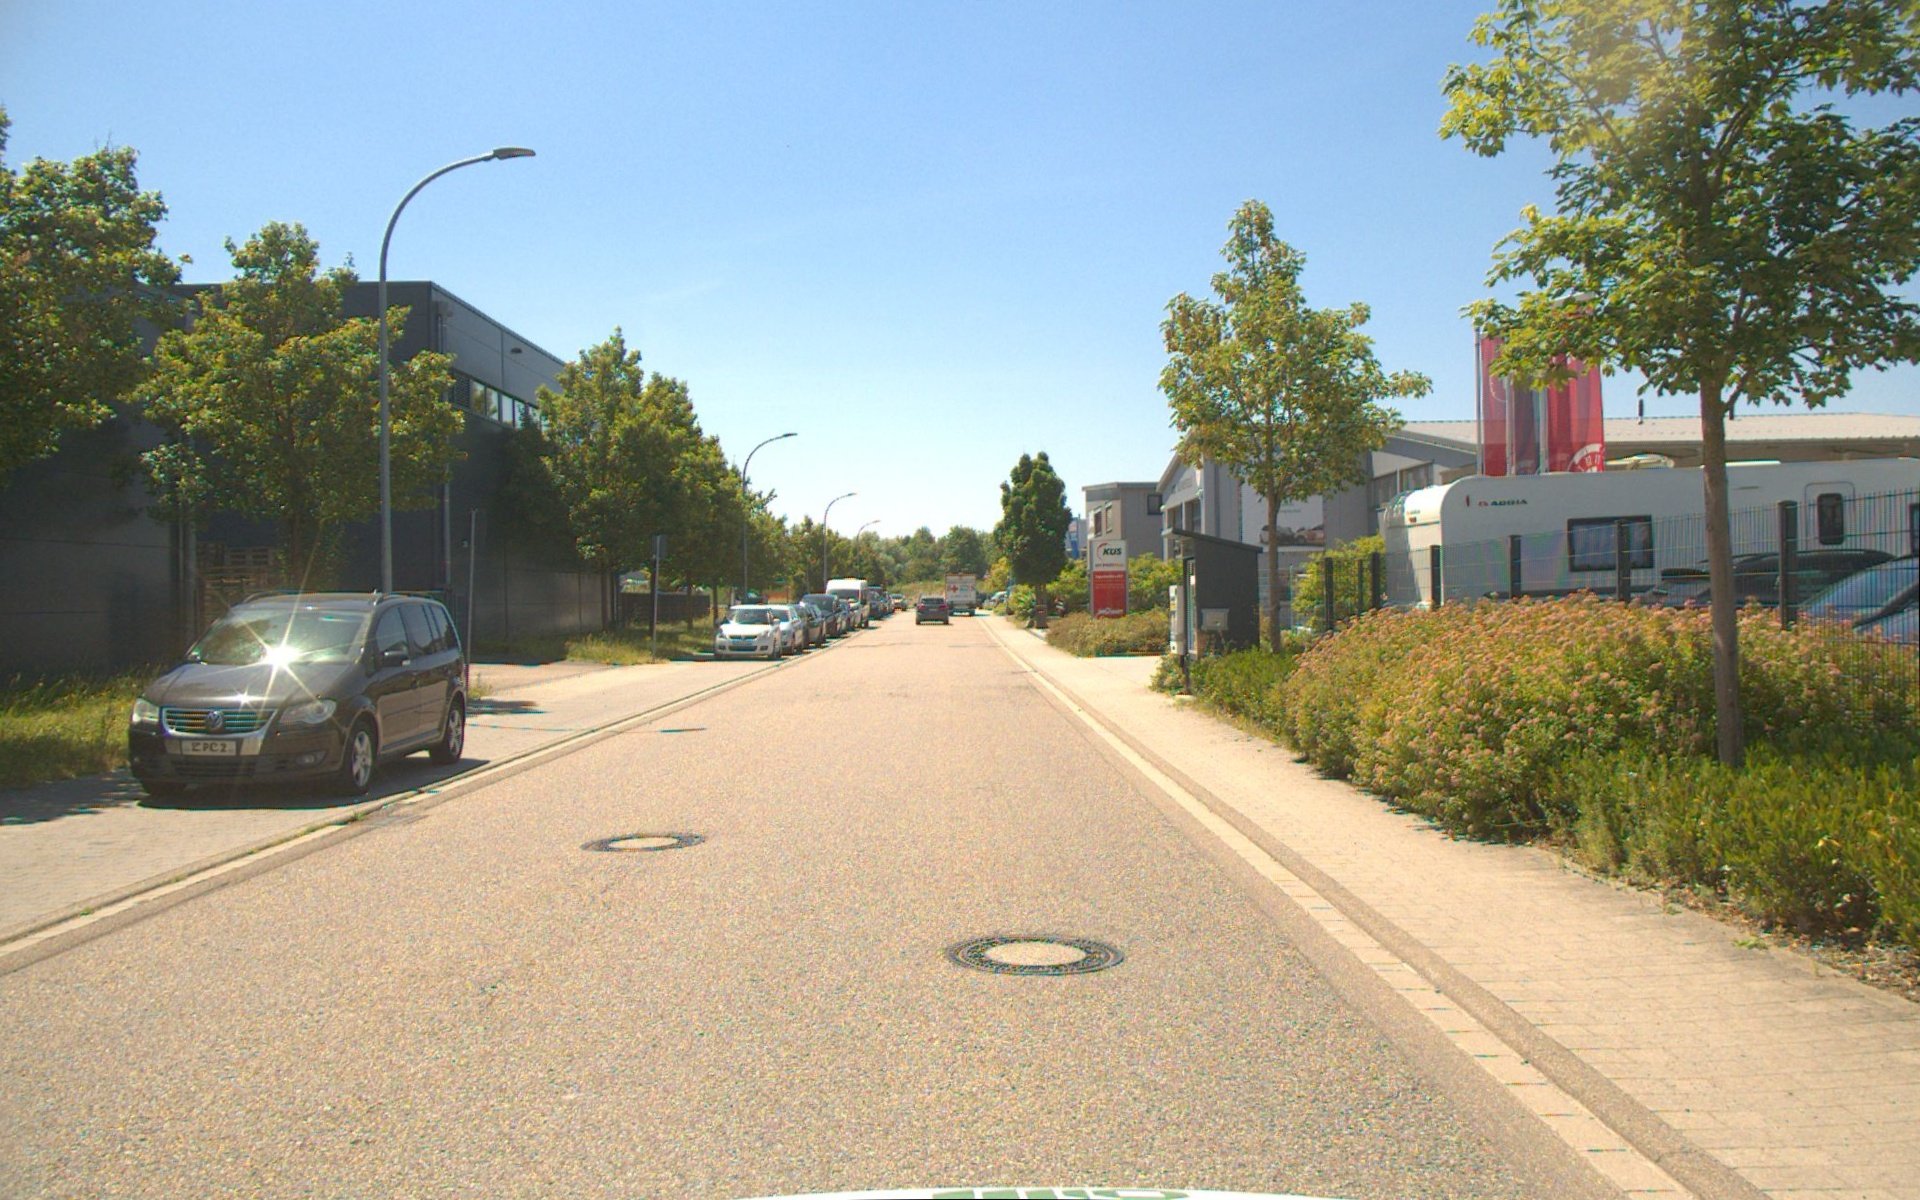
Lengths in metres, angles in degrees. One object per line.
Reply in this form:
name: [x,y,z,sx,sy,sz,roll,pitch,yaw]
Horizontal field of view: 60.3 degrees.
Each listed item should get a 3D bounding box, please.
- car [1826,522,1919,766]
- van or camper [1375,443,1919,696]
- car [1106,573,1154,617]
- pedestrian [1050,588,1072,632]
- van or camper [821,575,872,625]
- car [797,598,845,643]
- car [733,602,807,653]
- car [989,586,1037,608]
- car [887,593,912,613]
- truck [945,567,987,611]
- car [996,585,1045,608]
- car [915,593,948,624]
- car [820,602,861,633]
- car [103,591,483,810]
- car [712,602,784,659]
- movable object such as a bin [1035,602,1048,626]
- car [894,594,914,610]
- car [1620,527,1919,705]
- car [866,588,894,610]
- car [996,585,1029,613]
car: [8.548,0.204,11.401,4.166,1.648,1.808,-3,0,-2]
van or camper: [8.562,-0.360,19.516,6.620,2.630,2.635,-2,0,-1]
car: [7.512,-0.178,73.499,1.748,1.814,4.906,-2,-1,2]
pedestrian: [3.870,0.404,63.412,0.492,1.641,0.710,-5,0,-18]
van or camper: [-5.962,0.000,87.712,2.035,2.526,6.132,1,0,2]
car: [-5.884,0.830,70.298,1.762,1.846,4.251,0,0,-1]
car: [-5.873,0.830,51.585,1.762,1.502,4.554,0,0,0]
car: [4.383,-0.262,136.732,3.798,1.780,1.751,1,0,-3]
car: [-4.774,0.250,130.562,1.762,1.513,4.253,0,1,1]
truck: [0.434,-0.779,119.097,2.873,3.026,6.419,1,0,0]
car: [4.916,-0.251,134.261,3.798,1.780,1.751,1,0,-3]
car: [-1.548,0.462,91.287,1.753,1.652,3.808,1,0,-1]
car: [-5.813,0.835,80.801,1.762,1.475,4.251,0,0,-1]
car: [-5.660,0.756,14.639,1.735,1.640,4.246,0,0,-2]
car: [-5.897,0.828,46.323,1.686,1.502,3.855,0,0,-3]
movable object such as a bin: [3.728,0.650,75.727,0.520,1.071,0.845,-1,0,1]
car: [-5.618,0.216,165.175,1.762,1.513,4.253,0,1,1]
car: [8.940,0.097,16.344,4.054,1.563,1.808,-3,0,-2]
car: [-5.800,-0.069,120.482,1.762,1.513,4.253,0,1,1]
car: [3.546,-0.059,112.592,1.954,1.835,4.137,-1,0,-3]
